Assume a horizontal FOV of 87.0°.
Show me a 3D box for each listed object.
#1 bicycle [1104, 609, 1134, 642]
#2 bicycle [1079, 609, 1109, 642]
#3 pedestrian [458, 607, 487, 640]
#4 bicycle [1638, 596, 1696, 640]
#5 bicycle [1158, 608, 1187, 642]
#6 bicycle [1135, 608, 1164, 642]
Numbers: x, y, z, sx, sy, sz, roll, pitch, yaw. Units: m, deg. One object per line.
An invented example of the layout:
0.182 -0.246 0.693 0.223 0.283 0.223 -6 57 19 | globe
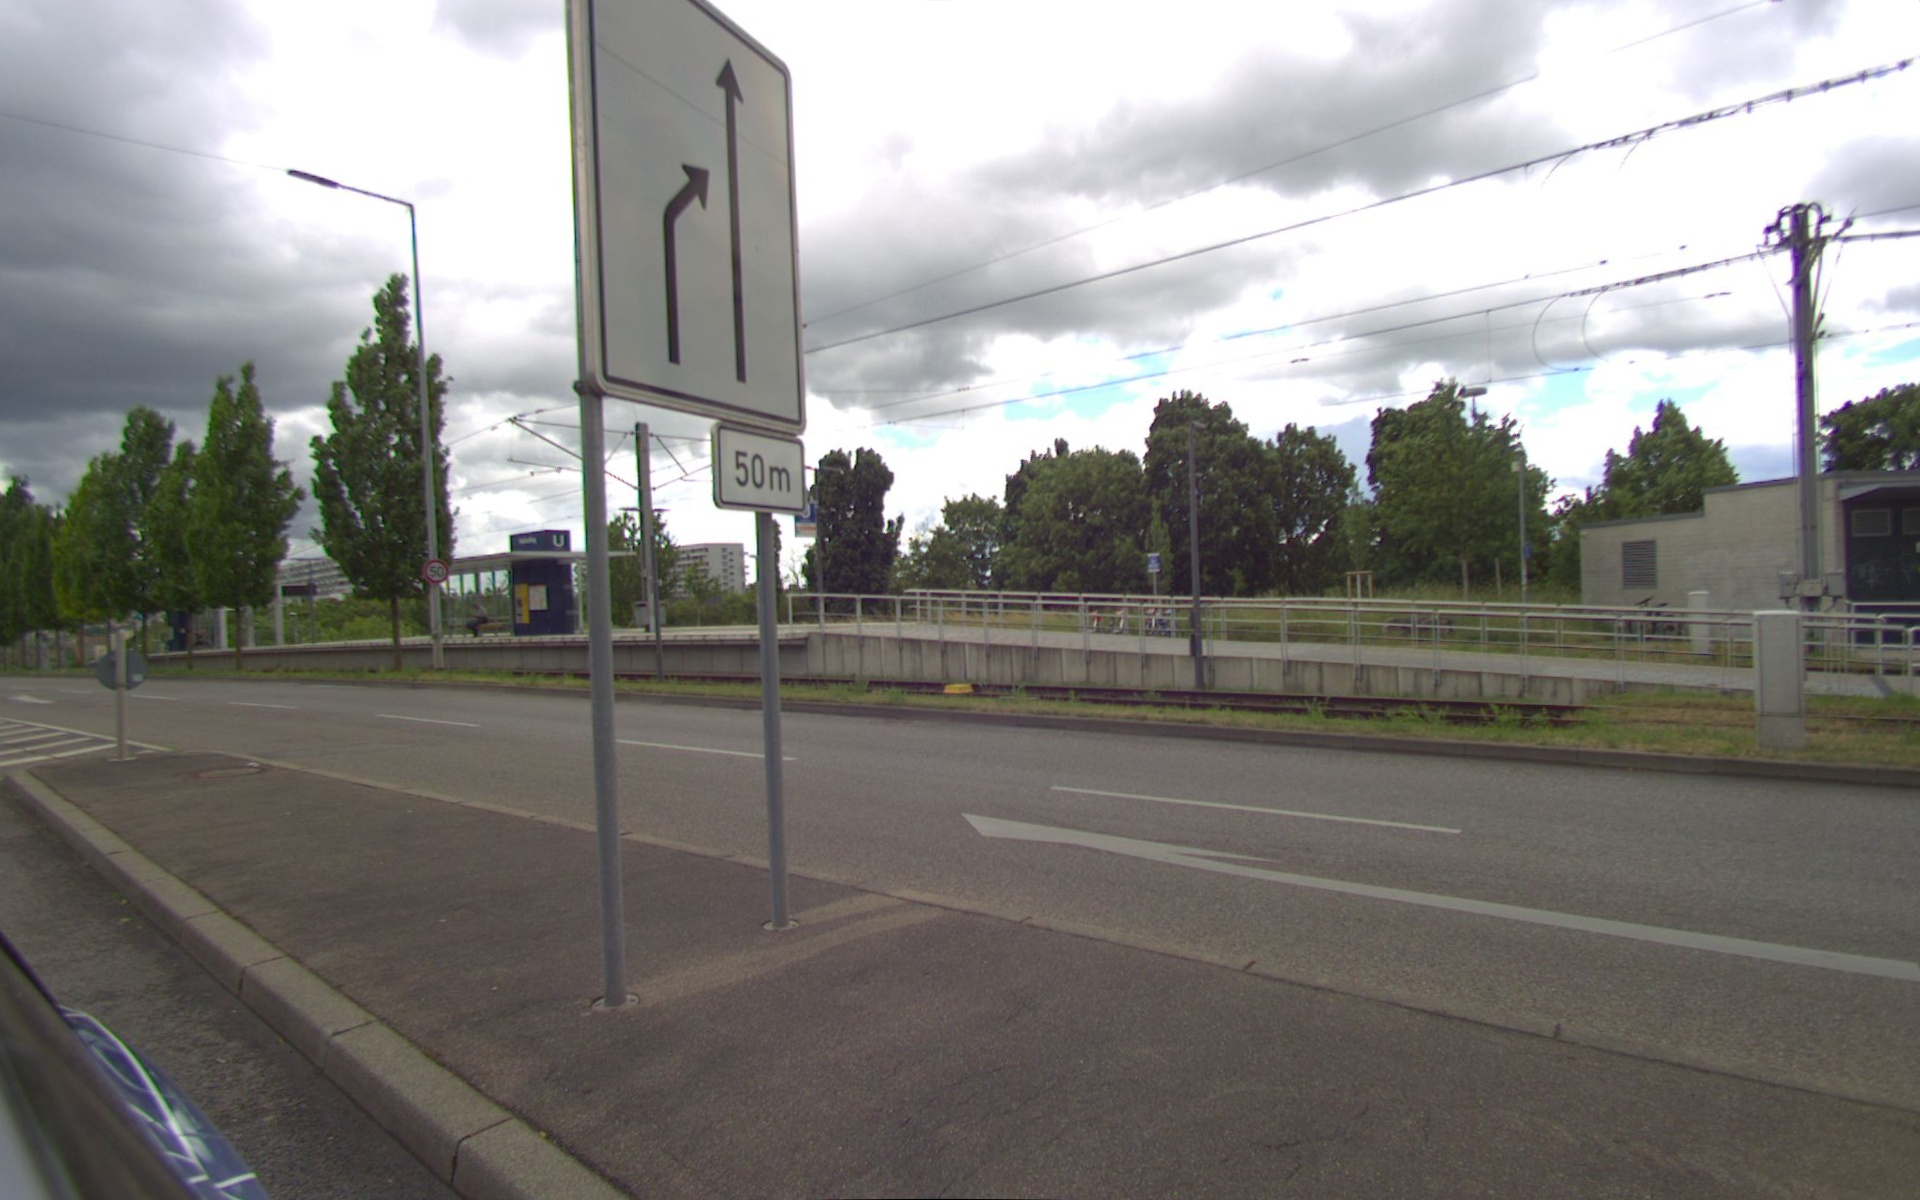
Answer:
5.432 0.864 34.460 0.490 1.095 1.466 -2 -1 30 | bicycle
4.675 0.886 35.162 0.490 1.095 1.466 -2 -1 30 | bicycle
-18.259 0.876 37.875 0.781 1.211 0.656 -2 -1 33 | pedestrian
18.187 0.455 26.060 0.486 1.095 1.480 -1 -1 3 | bicycle
7.038 0.813 33.468 0.490 1.095 1.466 -2 -1 30 | bicycle
6.373 0.830 33.948 0.490 1.095 1.466 -2 -1 30 | bicycle
